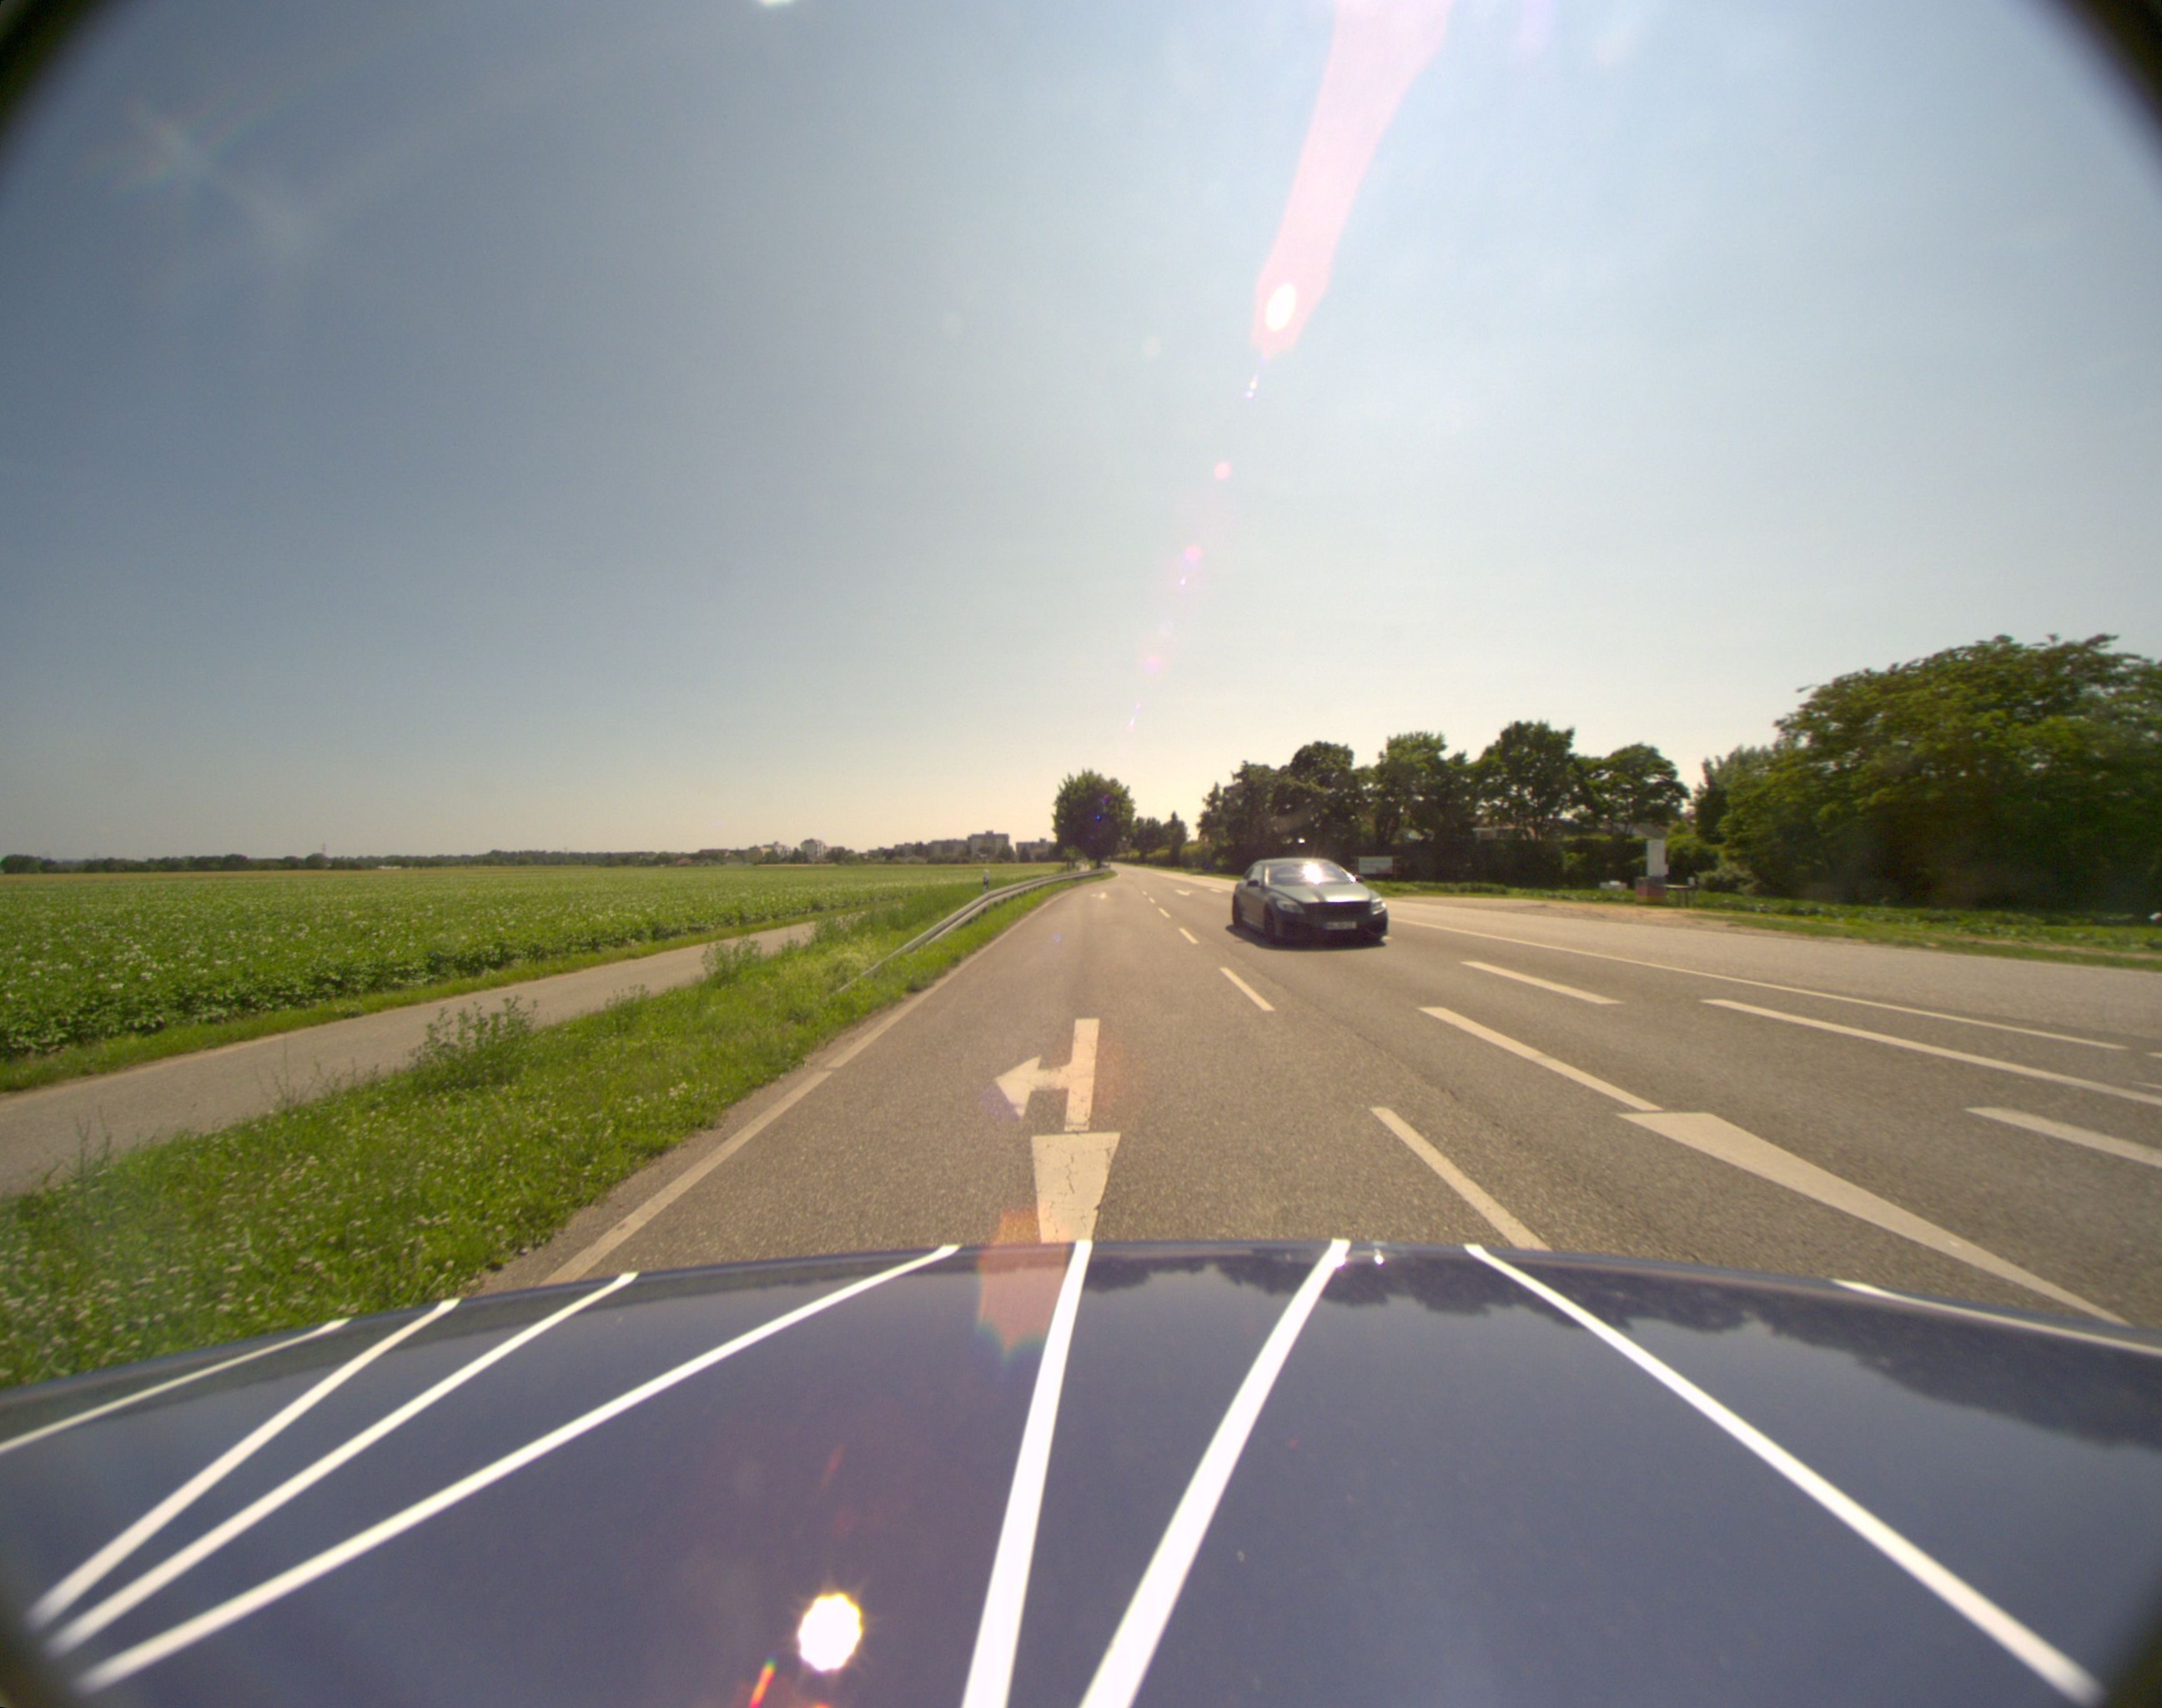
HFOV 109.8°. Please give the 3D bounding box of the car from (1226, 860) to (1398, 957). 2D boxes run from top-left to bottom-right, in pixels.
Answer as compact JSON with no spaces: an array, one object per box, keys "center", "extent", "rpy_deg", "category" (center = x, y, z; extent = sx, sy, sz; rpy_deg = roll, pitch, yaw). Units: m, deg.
[{"center":[4.062,0.866,14.257],"extent":[1.815,1.441,4.877],"rpy_deg":[-1,0,1],"category":"car"}]
